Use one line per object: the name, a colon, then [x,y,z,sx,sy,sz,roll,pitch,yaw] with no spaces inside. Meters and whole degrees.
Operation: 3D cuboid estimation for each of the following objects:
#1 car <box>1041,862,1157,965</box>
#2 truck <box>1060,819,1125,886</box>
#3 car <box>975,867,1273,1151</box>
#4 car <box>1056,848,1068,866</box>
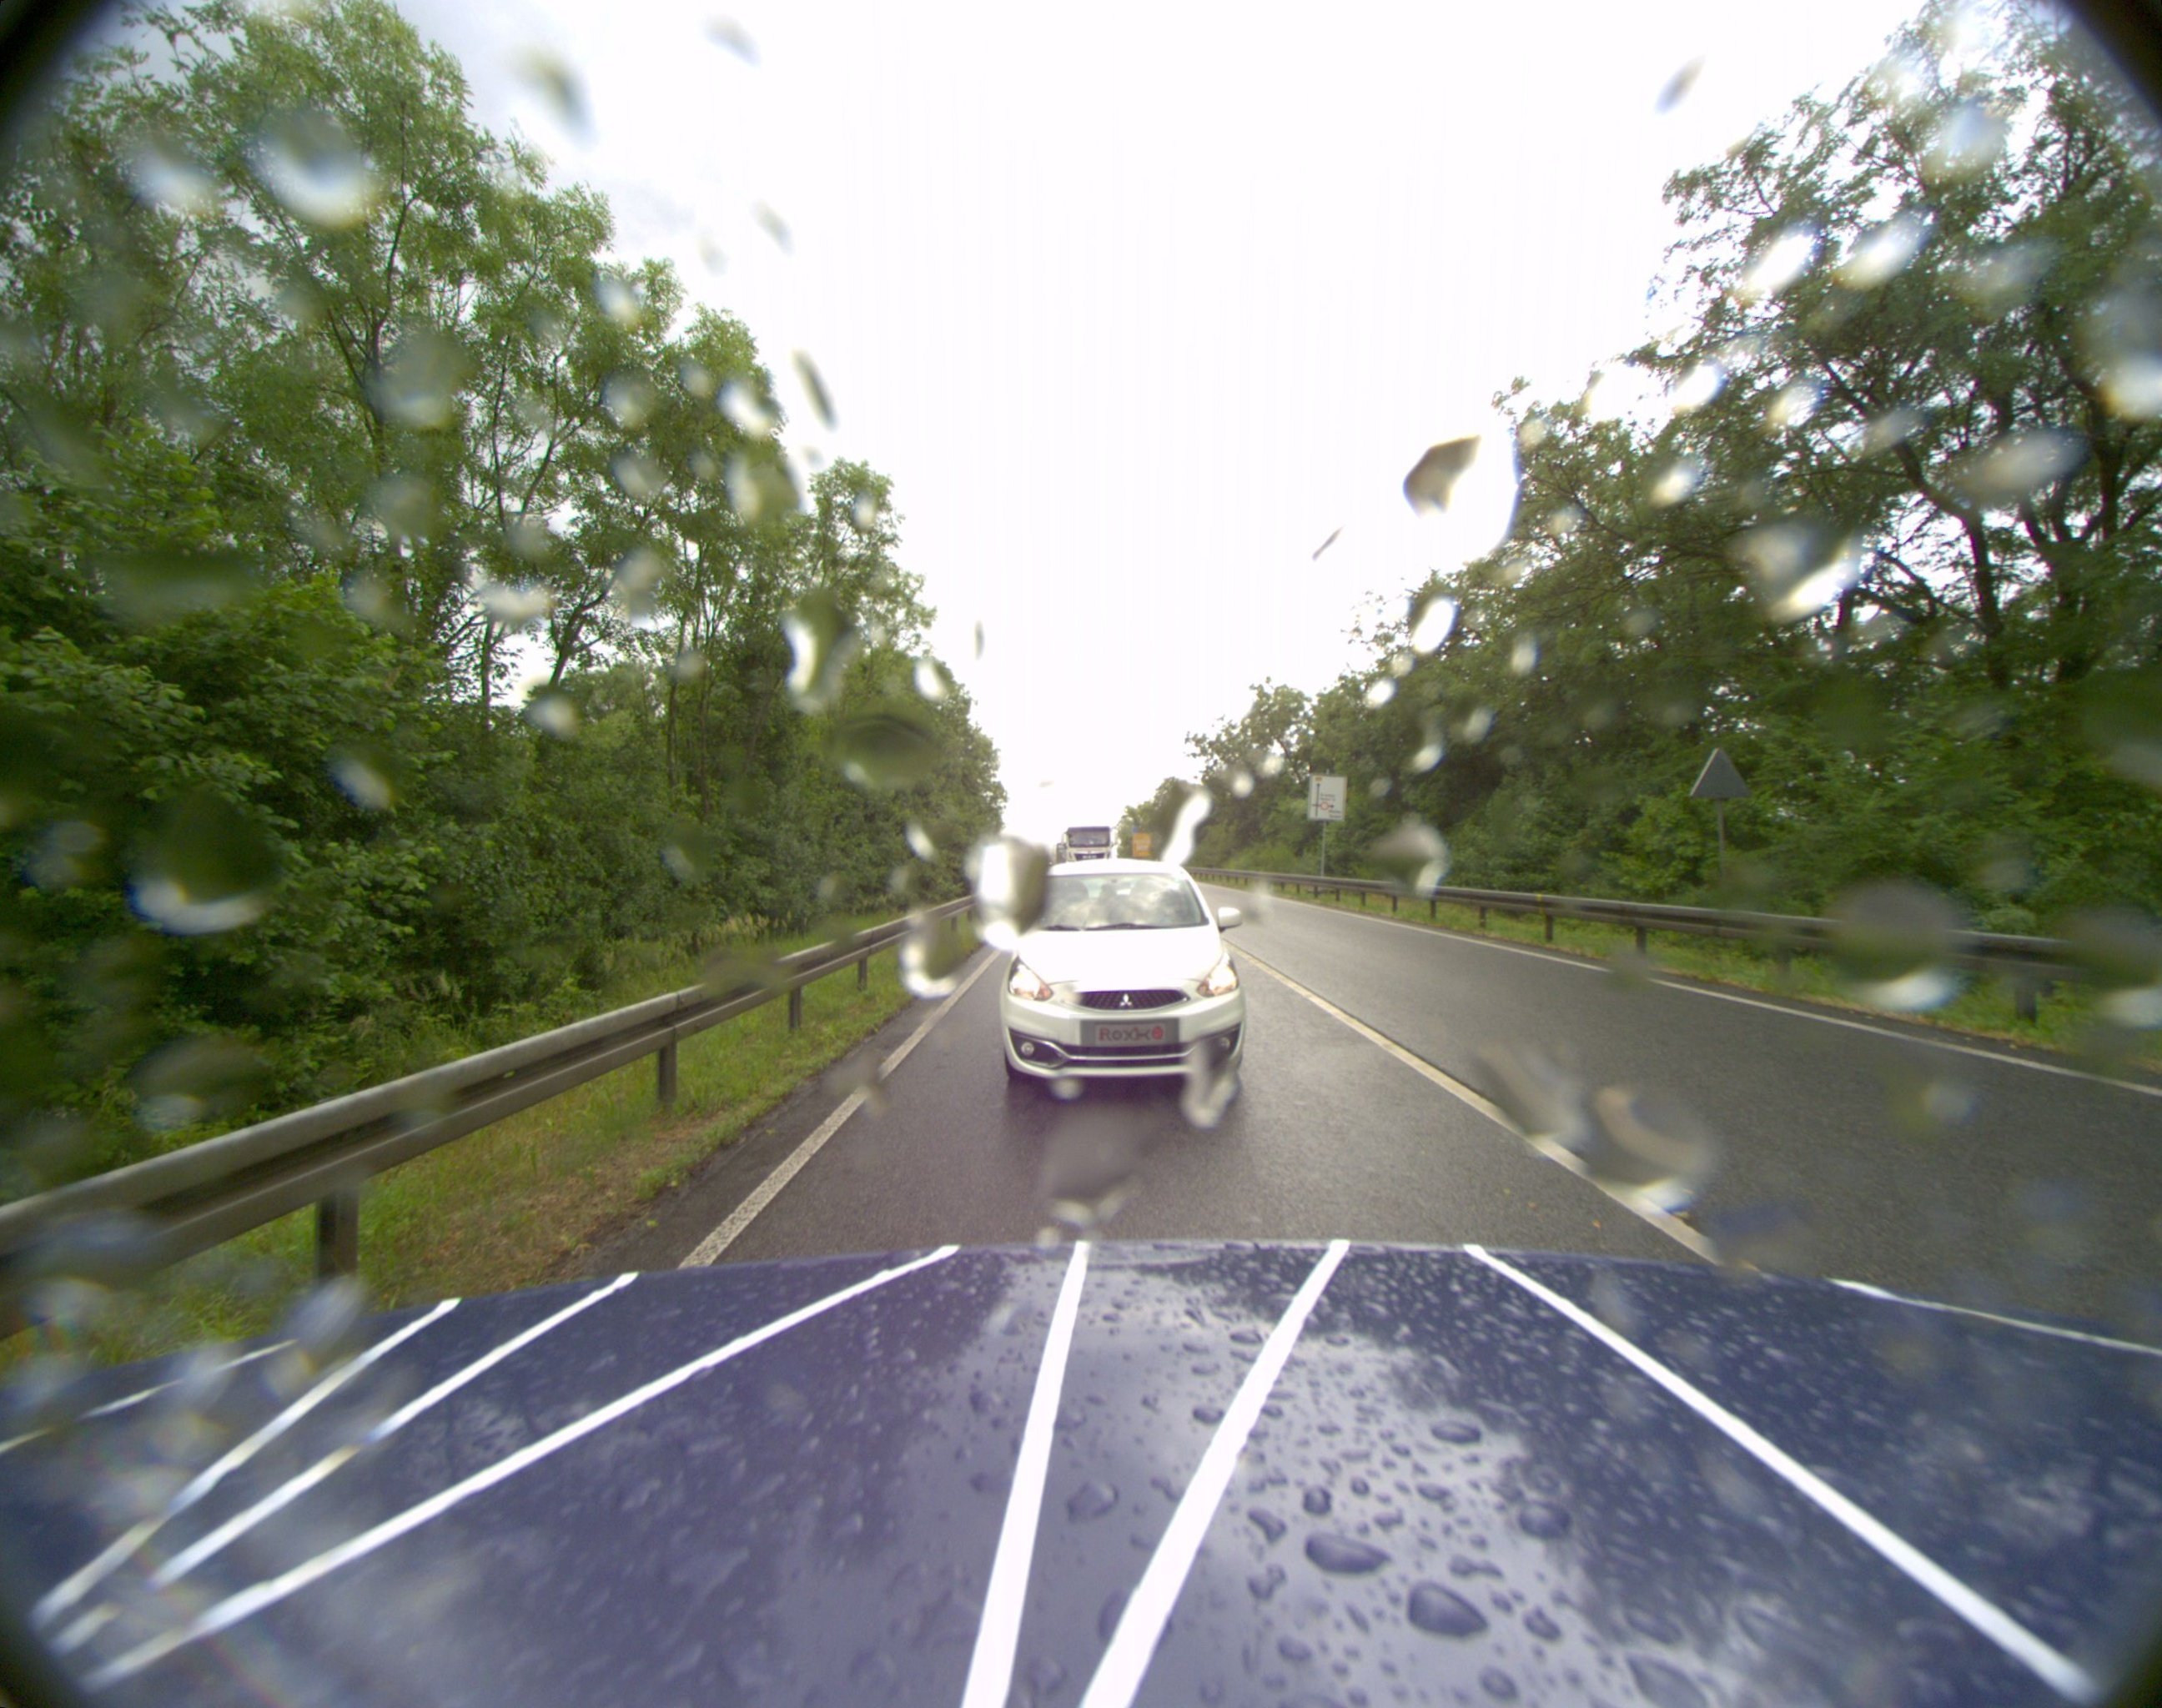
car: [0.326,0.900,13.333,1.640,1.413,4.492,-2,0,2]
truck: [0.491,-0.128,44.202,3.137,3.364,9.280,-2,1,-2]
car: [0.234,0.898,6.336,1.610,1.435,4.208,-2,0,0]
car: [-2.721,0.374,107.567,1.613,2.422,3.999,-2,1,-1]
